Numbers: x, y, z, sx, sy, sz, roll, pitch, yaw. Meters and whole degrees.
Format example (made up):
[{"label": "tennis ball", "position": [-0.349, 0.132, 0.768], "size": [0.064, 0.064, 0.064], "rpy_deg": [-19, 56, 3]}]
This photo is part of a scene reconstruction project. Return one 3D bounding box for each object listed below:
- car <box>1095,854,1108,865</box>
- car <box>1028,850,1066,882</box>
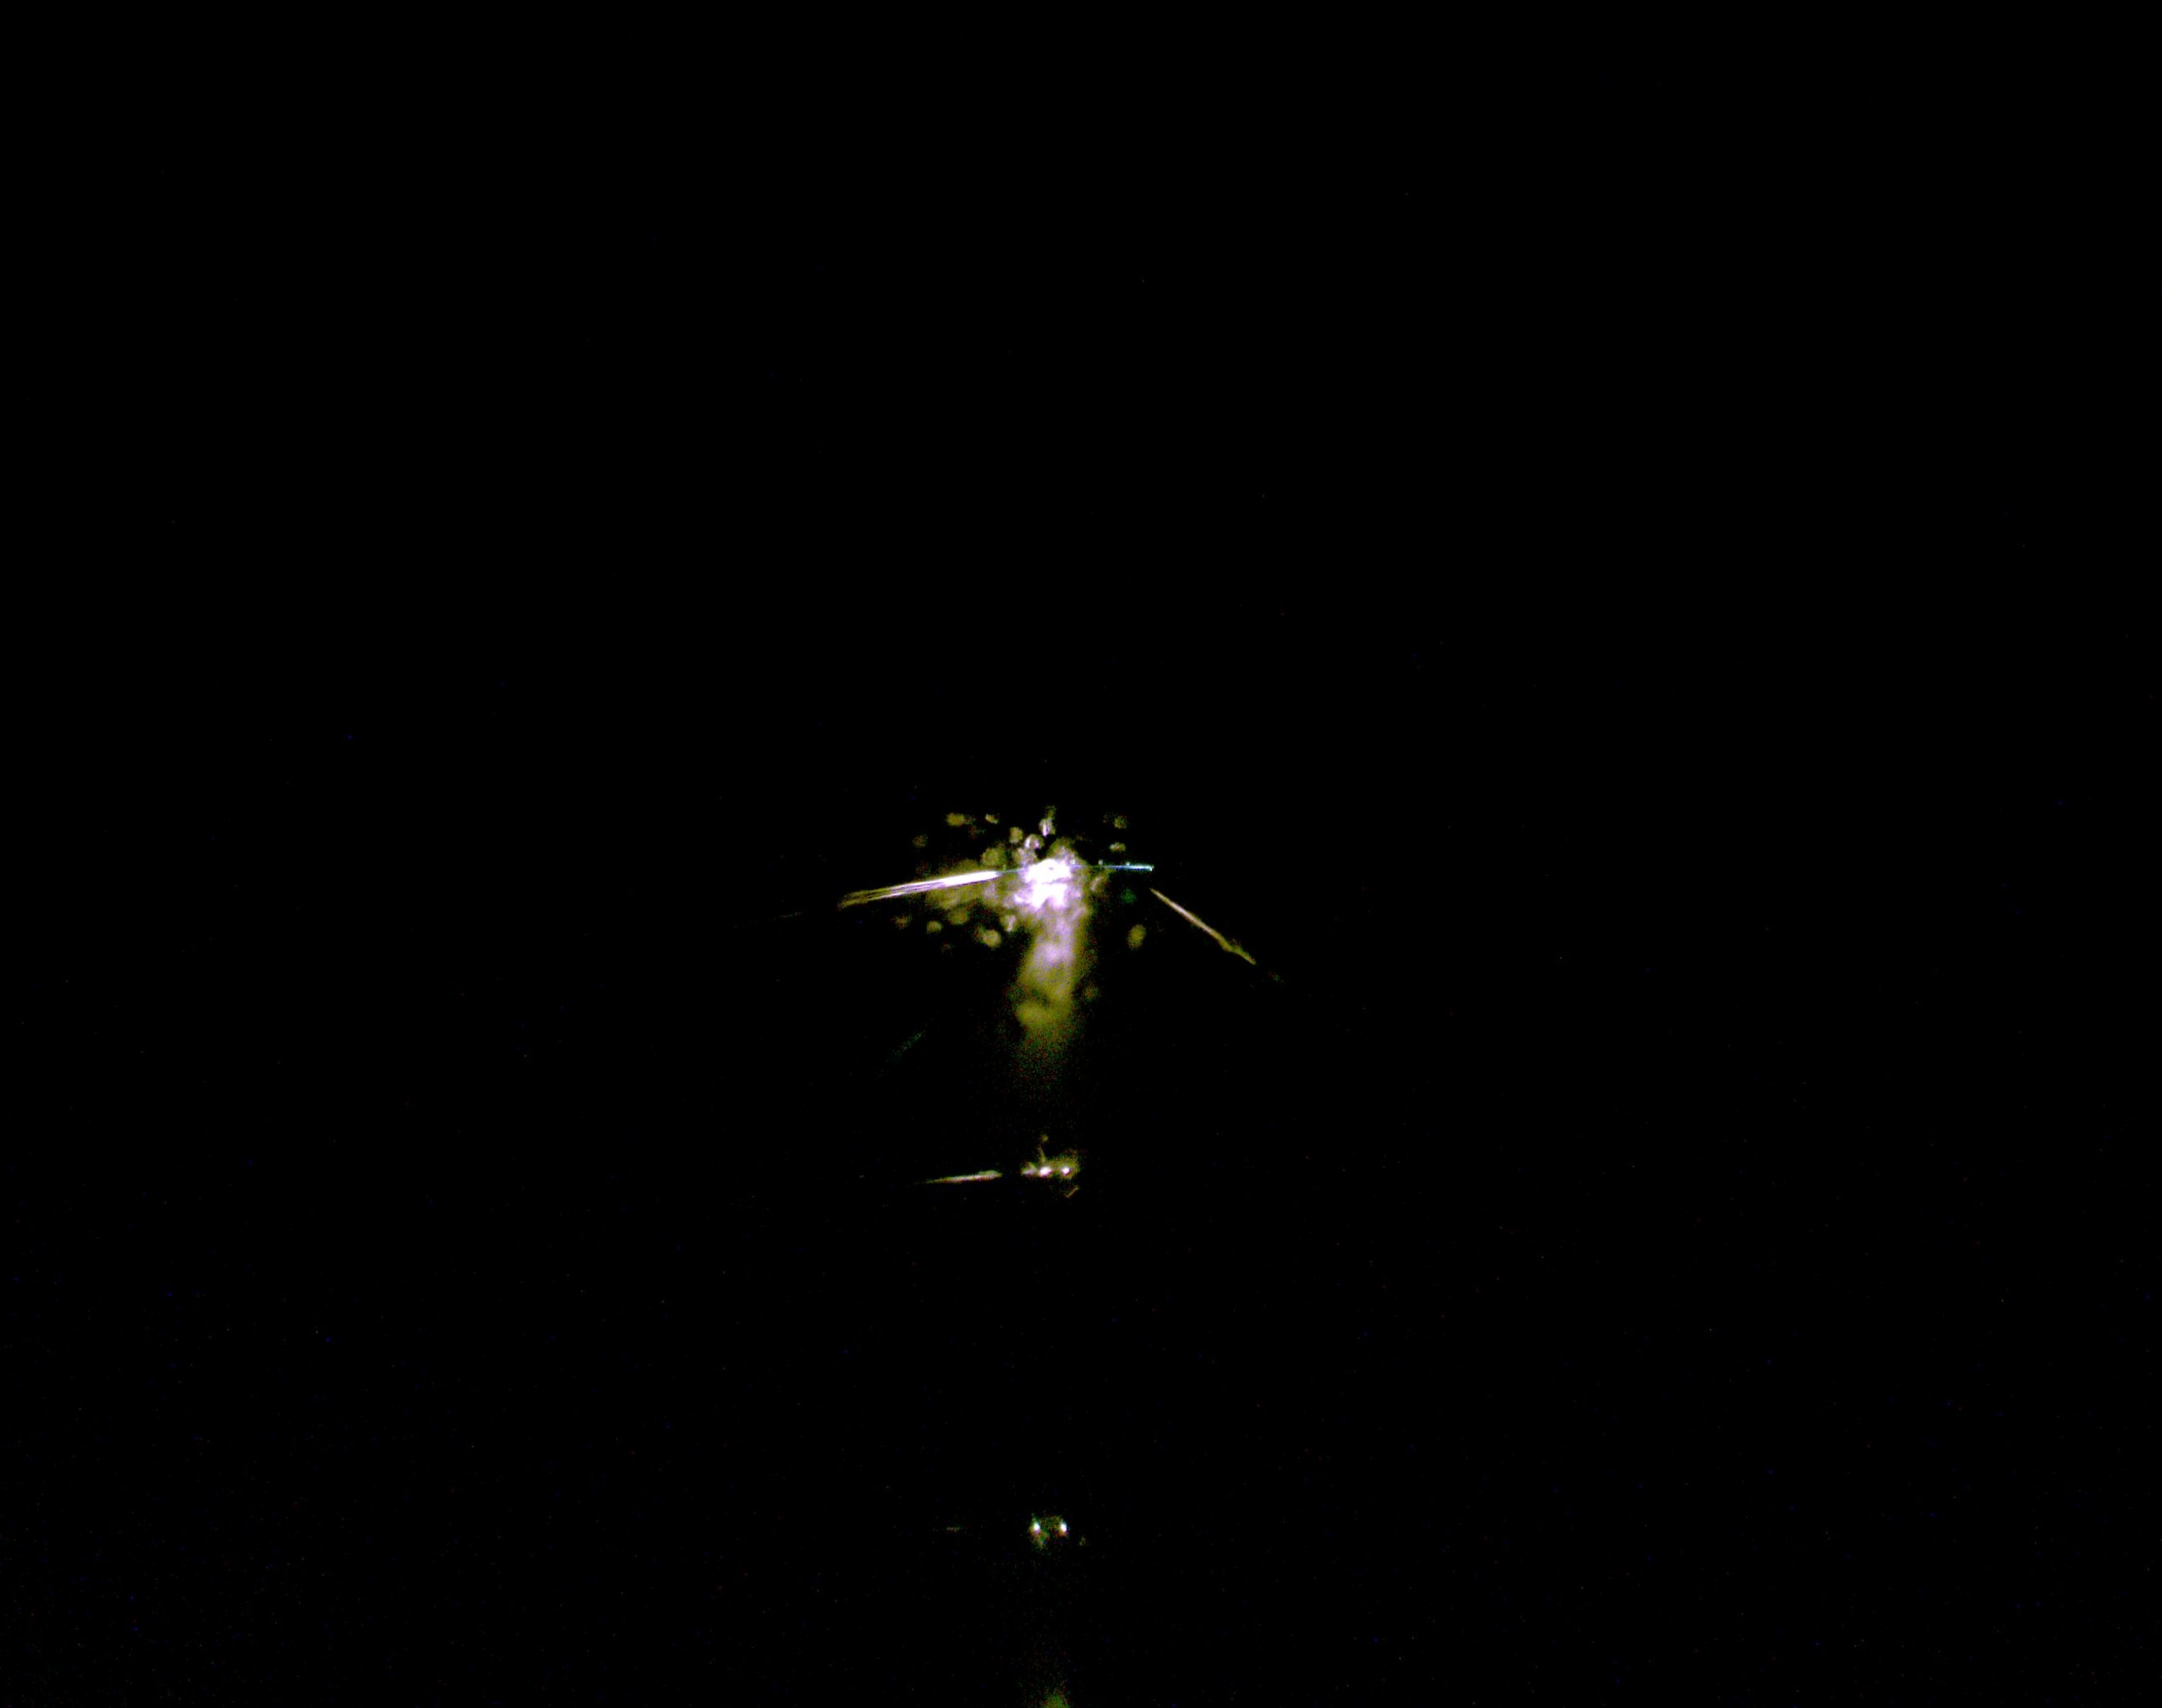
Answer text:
[{"label": "car", "position": [3.189, 0.899, 124.420], "size": [1.986, 1.666, 4.002], "rpy_deg": [0, 0, 2]}, {"label": "car", "position": [-2.041, 0.716, 49.830], "size": [1.986, 1.825, 4.565], "rpy_deg": [-1, 0, 2]}]
